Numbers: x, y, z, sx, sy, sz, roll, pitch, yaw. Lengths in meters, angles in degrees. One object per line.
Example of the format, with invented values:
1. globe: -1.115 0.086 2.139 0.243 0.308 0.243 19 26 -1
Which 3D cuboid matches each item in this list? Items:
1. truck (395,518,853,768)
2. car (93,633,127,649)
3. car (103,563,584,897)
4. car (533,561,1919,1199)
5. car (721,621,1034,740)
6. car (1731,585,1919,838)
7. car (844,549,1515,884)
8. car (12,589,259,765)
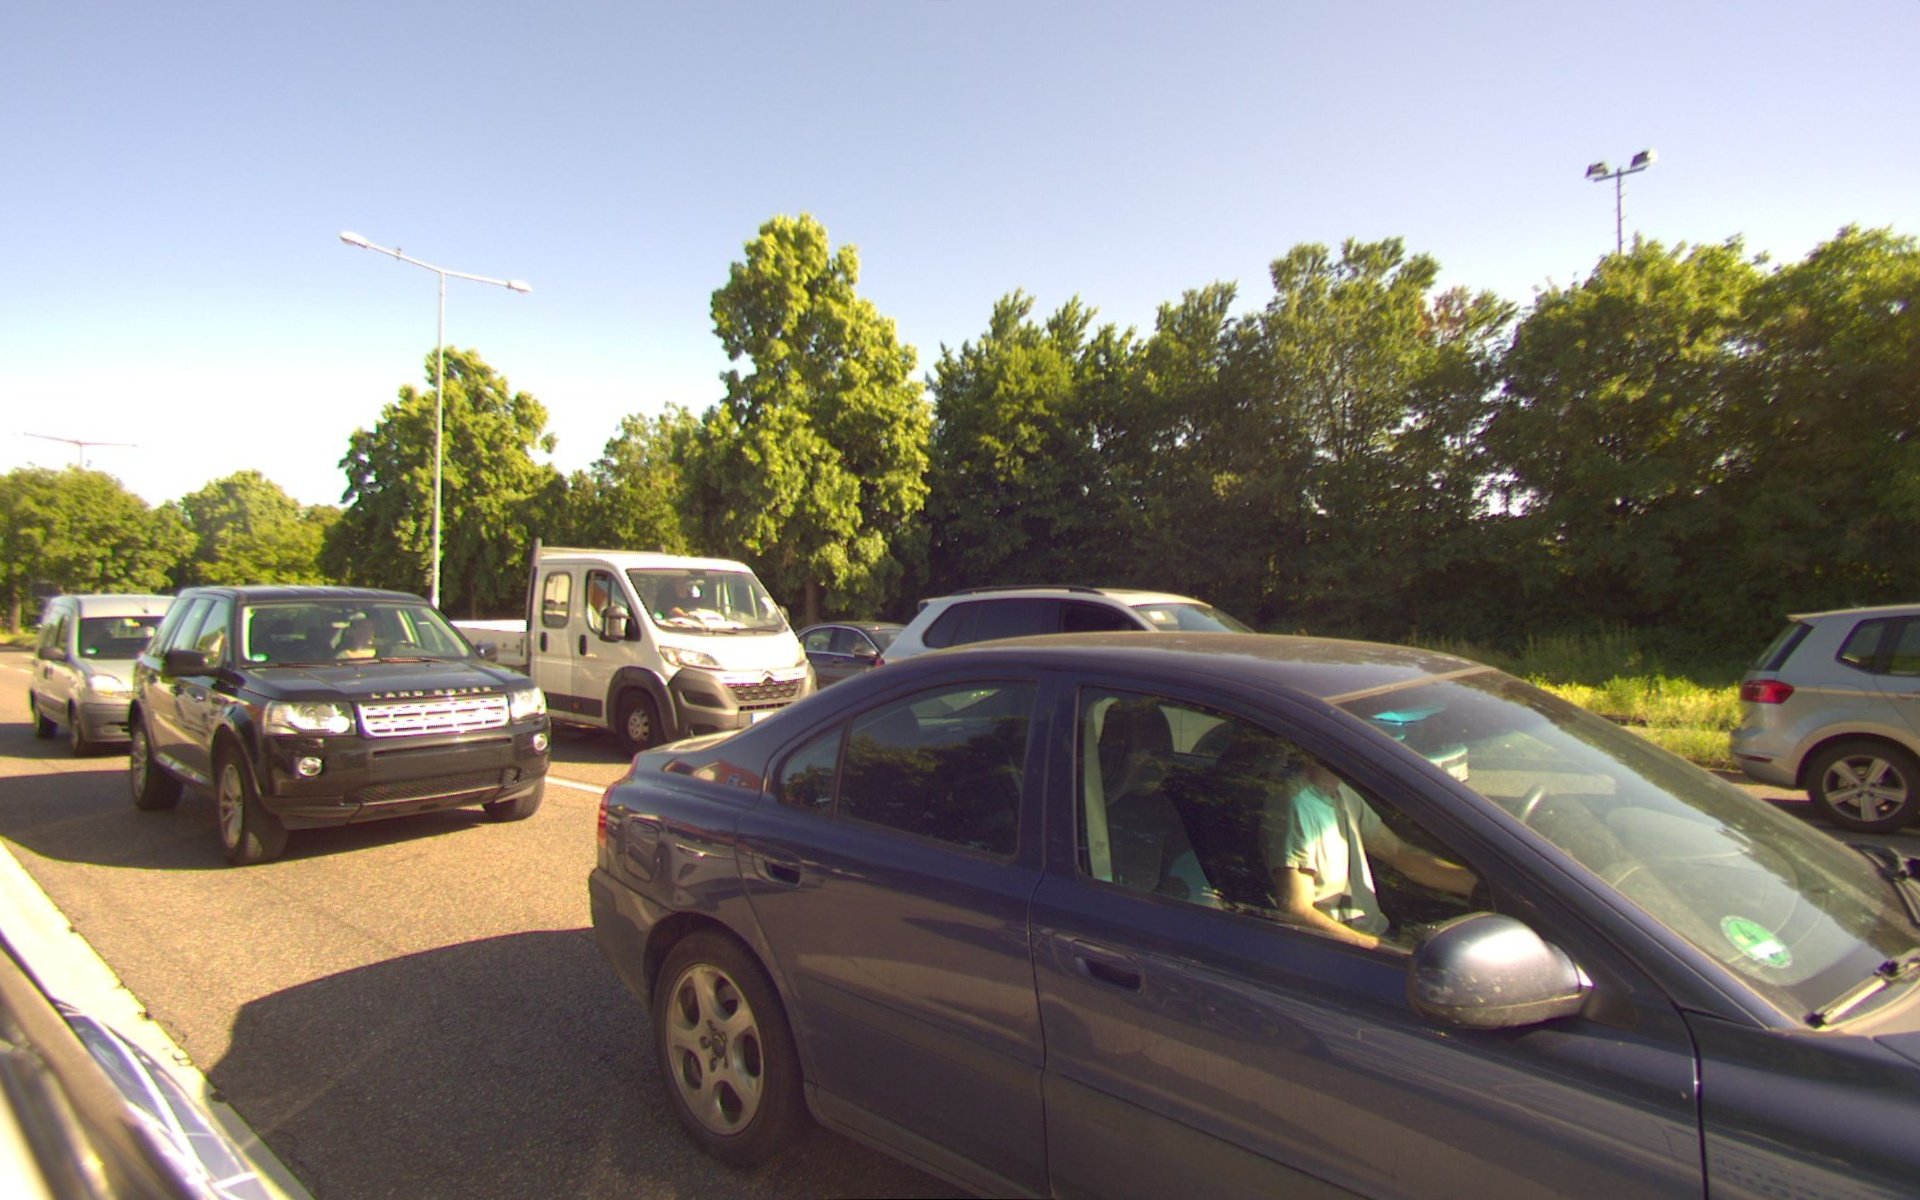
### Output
1. truck: -4.472 0.436 12.506 6.838 2.337 2.158 -1 -1 40
2. car: -77.530 3.706 92.322 3.998 1.428 1.769 -2 -3 41
3. car: -4.702 0.701 7.425 4.384 1.744 1.793 -1 -1 41
4. car: 0.885 0.690 2.430 4.454 1.463 1.757 -1 0 41
5. car: -1.268 1.033 14.272 4.382 1.401 1.793 -1 -3 40
6. car: 7.624 0.716 6.419 4.206 1.623 1.811 -2 -3 42
7. car: 1.373 0.672 7.435 4.422 1.723 1.973 -2 -3 41
8. car: -10.059 0.795 12.226 4.384 1.765 1.611 -1 -1 41
